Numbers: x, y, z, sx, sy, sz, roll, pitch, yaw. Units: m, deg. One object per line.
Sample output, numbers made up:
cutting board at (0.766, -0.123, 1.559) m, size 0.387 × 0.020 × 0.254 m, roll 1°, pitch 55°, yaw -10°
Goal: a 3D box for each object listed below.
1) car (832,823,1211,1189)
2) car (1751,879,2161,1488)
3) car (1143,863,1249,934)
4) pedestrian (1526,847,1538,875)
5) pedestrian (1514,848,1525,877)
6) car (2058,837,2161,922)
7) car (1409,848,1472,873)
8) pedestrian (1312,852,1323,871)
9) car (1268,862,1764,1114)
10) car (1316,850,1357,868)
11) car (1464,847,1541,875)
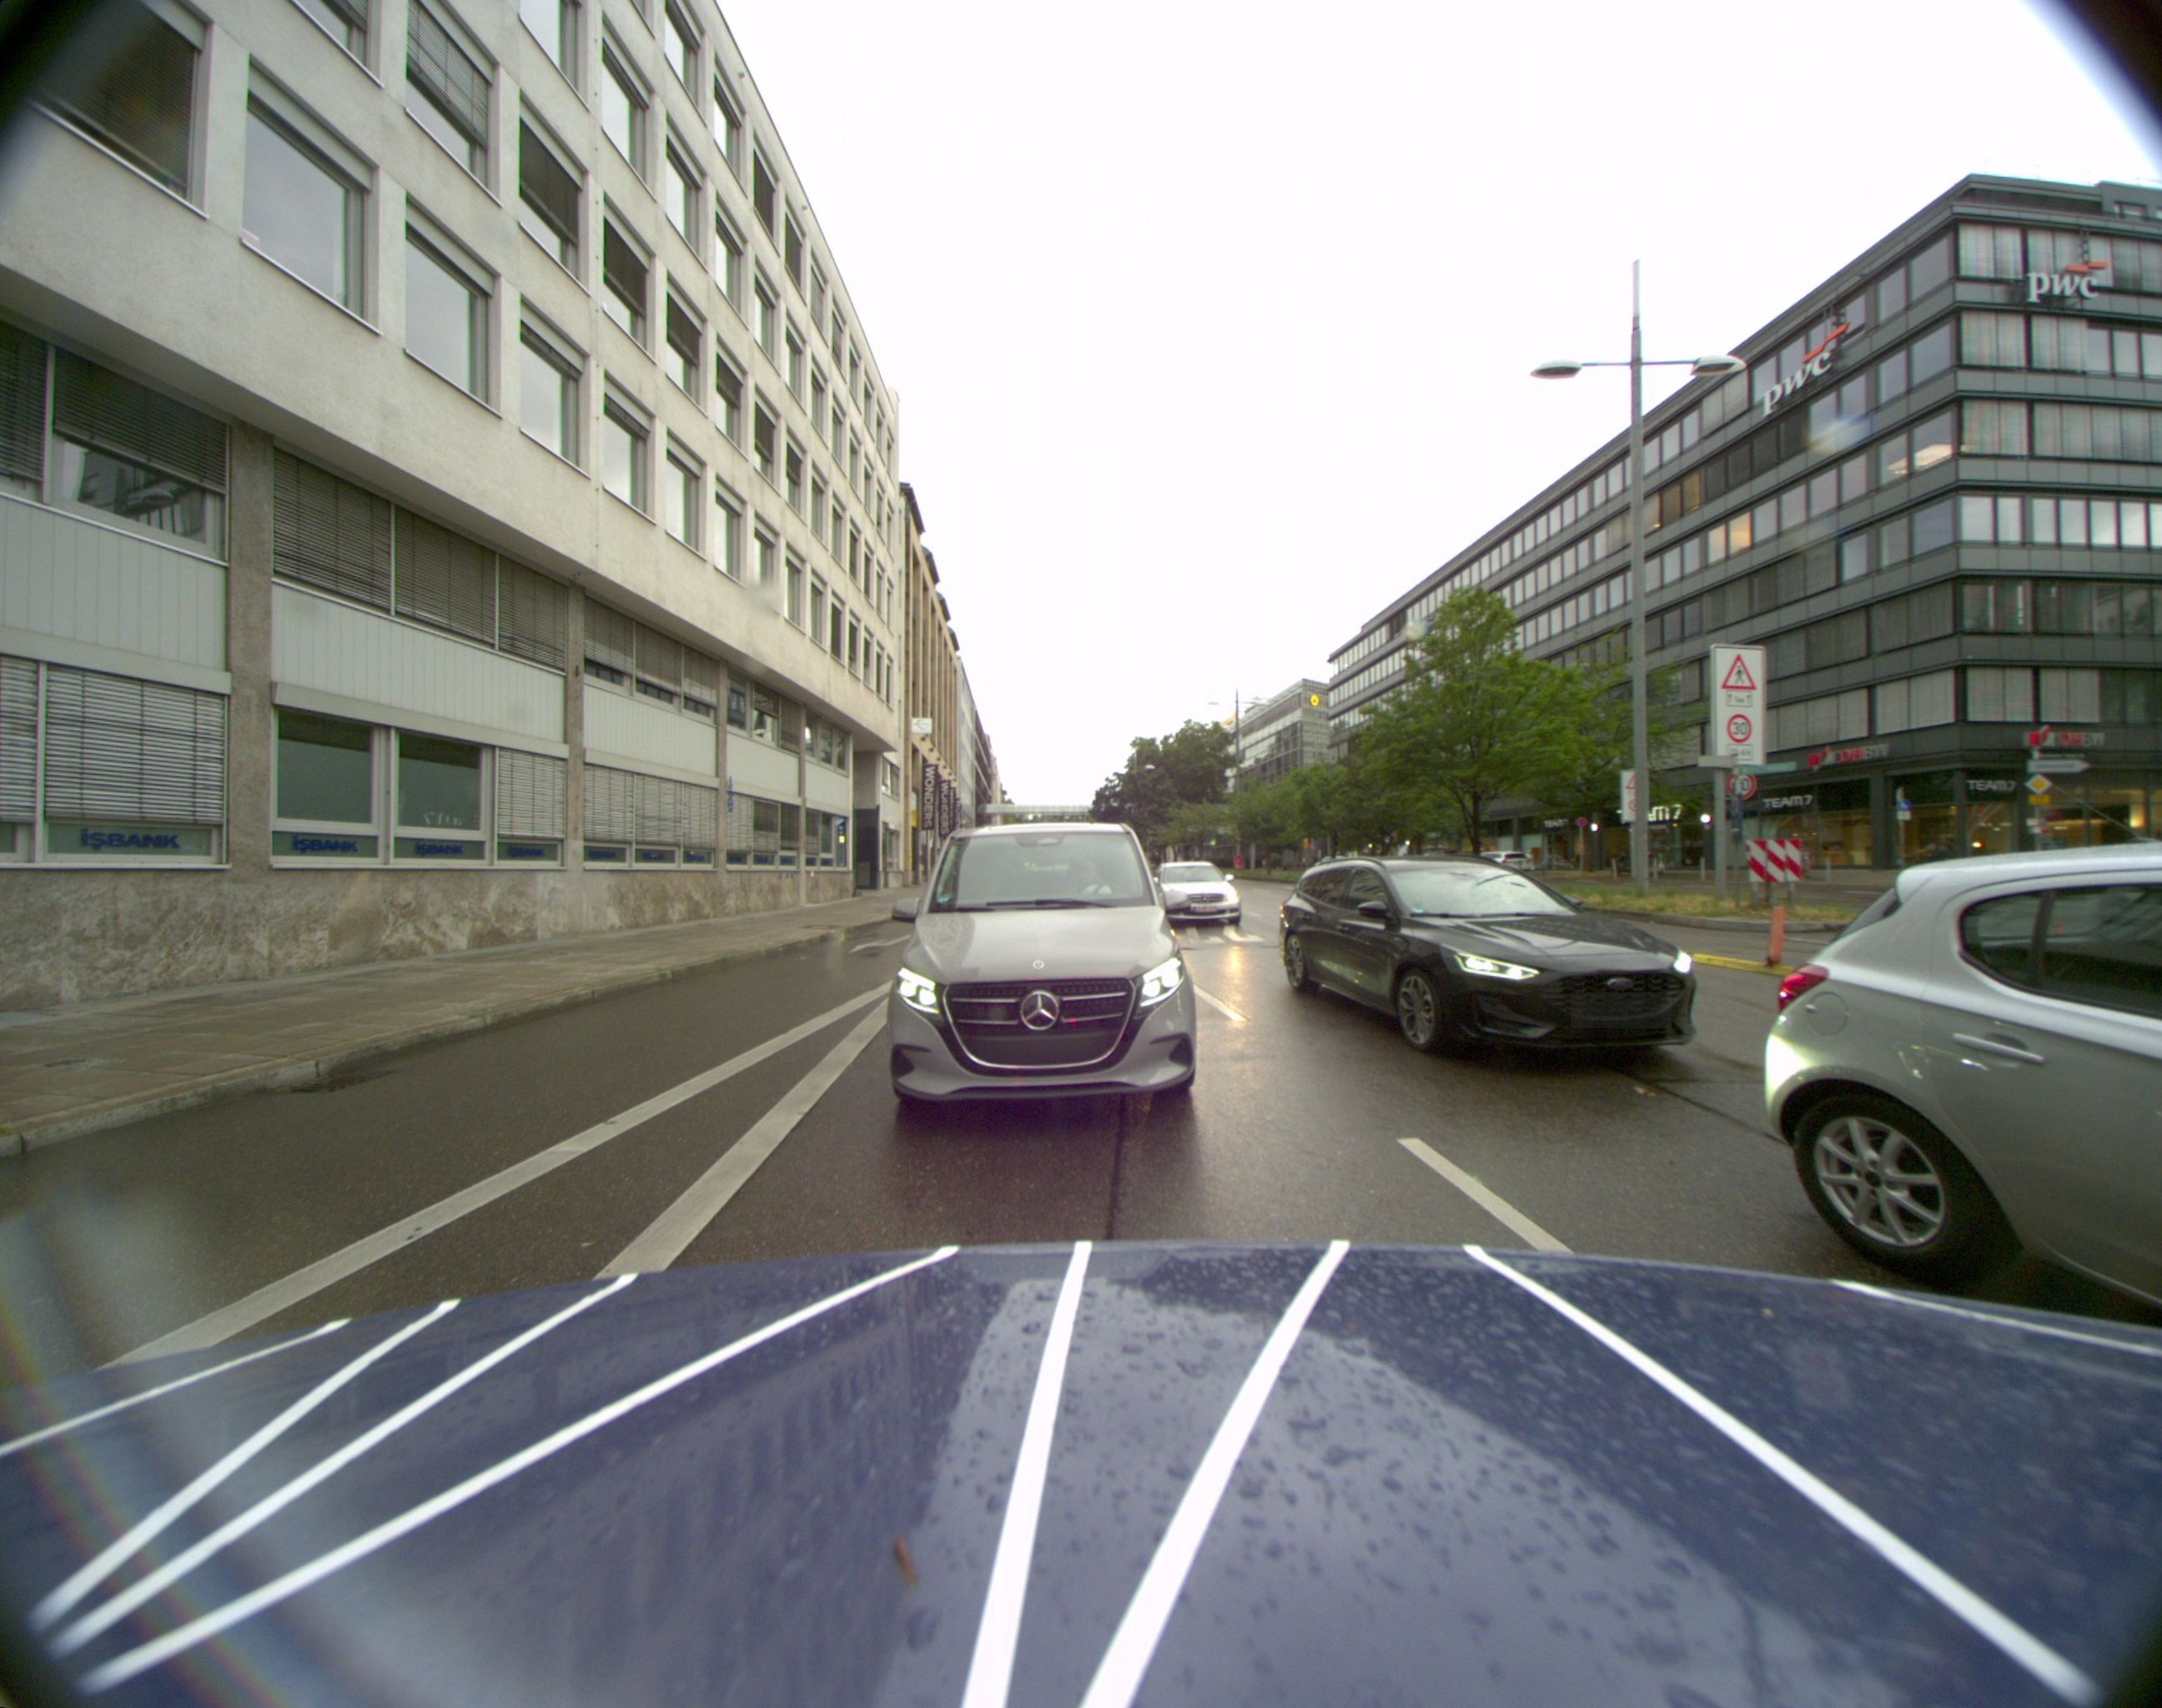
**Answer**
car at (-0.324, 0.802, 6.493) m, size 1.916 × 1.844 × 5.026 m, roll -2°, pitch 0°, yaw 0°
car at (3.505, 0.838, 1.074) m, size 1.652 × 1.427 × 3.875 m, roll -2°, pitch 0°, yaw 0°
car at (2.592, 0.961, 18.019) m, size 1.776 × 1.372 × 4.094 m, roll -2°, pitch 0°, yaw -1°
pedestrian at (32.102, 0.485, 54.100) m, size 0.575 × 2.002 × 0.461 m, roll -2°, pitch 1°, yaw -5°
pedestrian at (30.599, 0.594, 53.049) m, size 0.541 × 2.002 × 0.297 m, roll -2°, pitch 1°, yaw -5°
car at (18.501, 0.413, 12.081) m, size 1.748 × 1.364 × 4.005 m, roll -2°, pitch 0°, yaw 19°
car at (23.649, 0.433, 50.119) m, size 1.999 × 1.498 × 4.106 m, roll -2°, pitch 0°, yaw -4°
pedestrian at (25.471, 0.832, 81.706) m, size 0.928 × 2.002 × 0.539 m, roll -2°, pitch 0°, yaw -1°
car at (3.170, 0.825, 6.660) m, size 1.776 × 1.427 × 4.093 m, roll -2°, pitch 0°, yaw -4°
car at (22.397, 0.441, 66.664) m, size 1.999 × 1.498 × 3.999 m, roll -2°, pitch 0°, yaw -4°
car at (24.106, 0.375, 43.661) m, size 1.999 × 1.498 × 3.999 m, roll -2°, pitch 0°, yaw -4°
